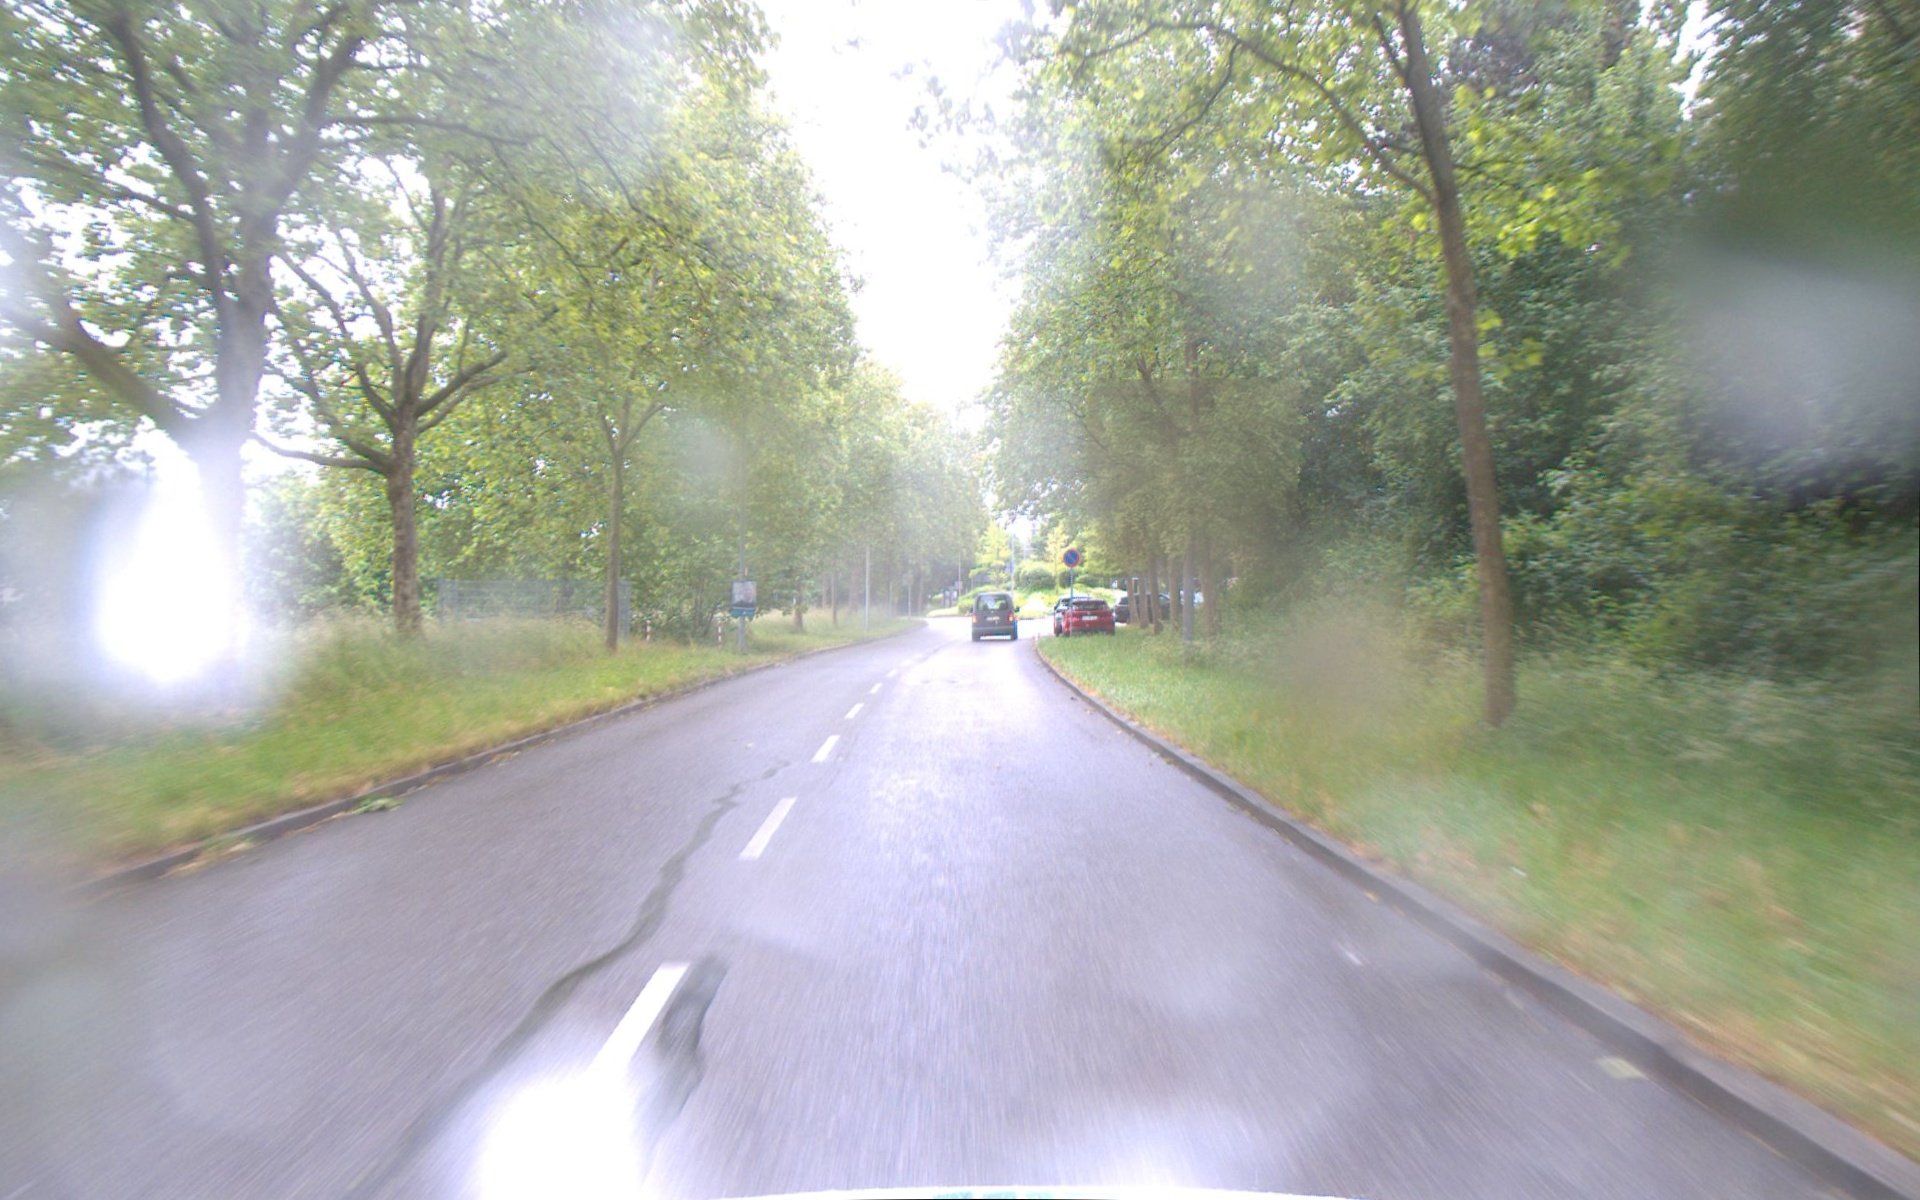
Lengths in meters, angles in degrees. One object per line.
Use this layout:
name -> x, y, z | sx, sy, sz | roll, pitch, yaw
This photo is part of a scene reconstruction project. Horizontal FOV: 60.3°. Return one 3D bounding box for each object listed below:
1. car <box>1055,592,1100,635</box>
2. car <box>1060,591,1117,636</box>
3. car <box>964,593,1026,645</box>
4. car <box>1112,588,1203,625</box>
car -> 4.714, 0.540, 66.721 | 1.692, 1.619, 4.254 | -2, -1, 3
car -> 4.254, 0.447, 55.292 | 1.759, 1.396, 3.745 | -2, 0, 3
car -> 1.416, 0.721, 65.050 | 1.878, 1.832, 3.793 | -4, 0, 8
car -> 9.697, 0.313, 81.354 | 4.376, 1.709, 1.769 | -1, 1, 5
